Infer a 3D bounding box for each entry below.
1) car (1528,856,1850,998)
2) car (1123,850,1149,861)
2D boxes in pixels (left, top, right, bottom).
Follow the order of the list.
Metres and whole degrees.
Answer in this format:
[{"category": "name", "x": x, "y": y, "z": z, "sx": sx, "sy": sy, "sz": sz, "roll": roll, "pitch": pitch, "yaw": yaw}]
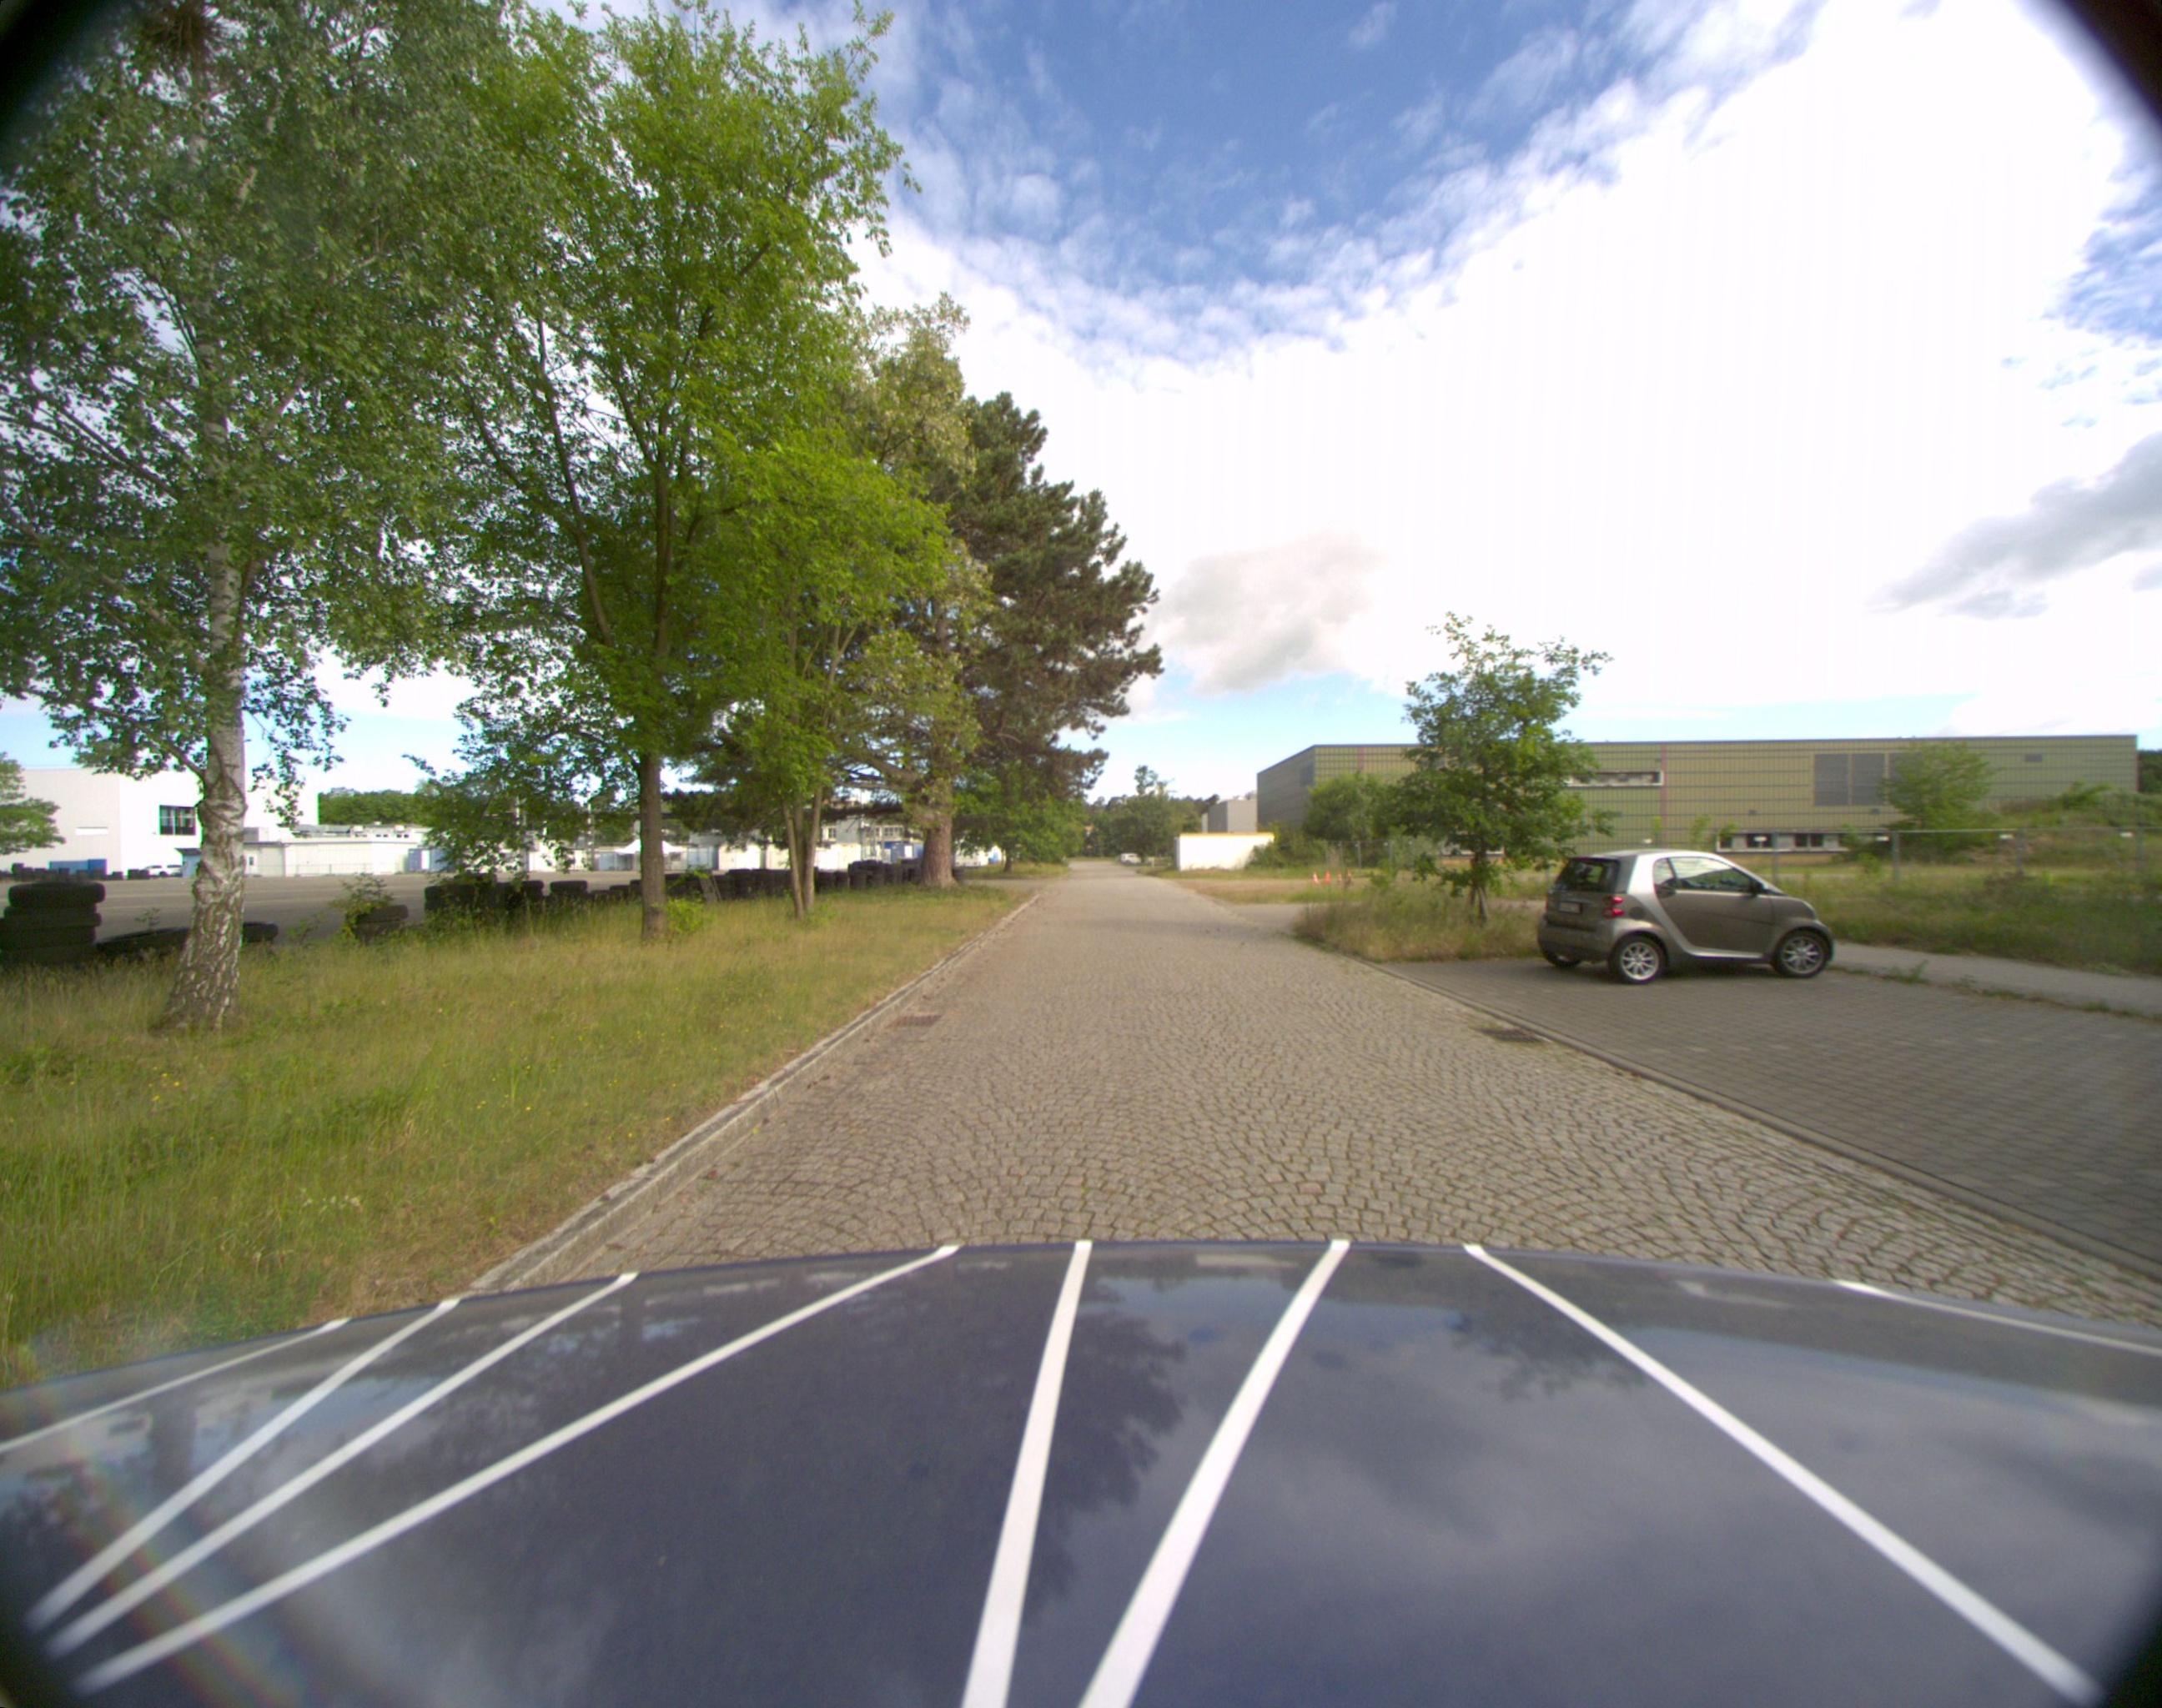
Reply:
[{"category": "car", "x": 7.324, "y": 0.820, "z": 9.365, "sx": 2.661, "sy": 1.502, "sz": 1.610, "roll": -2, "pitch": 0, "yaw": 0}, {"category": "car", "x": 8.415, "y": 0.261, "z": 116.584, "sx": 3.996, "sy": 1.604, "sz": 1.797, "roll": 0, "pitch": 1, "yaw": 4}]
